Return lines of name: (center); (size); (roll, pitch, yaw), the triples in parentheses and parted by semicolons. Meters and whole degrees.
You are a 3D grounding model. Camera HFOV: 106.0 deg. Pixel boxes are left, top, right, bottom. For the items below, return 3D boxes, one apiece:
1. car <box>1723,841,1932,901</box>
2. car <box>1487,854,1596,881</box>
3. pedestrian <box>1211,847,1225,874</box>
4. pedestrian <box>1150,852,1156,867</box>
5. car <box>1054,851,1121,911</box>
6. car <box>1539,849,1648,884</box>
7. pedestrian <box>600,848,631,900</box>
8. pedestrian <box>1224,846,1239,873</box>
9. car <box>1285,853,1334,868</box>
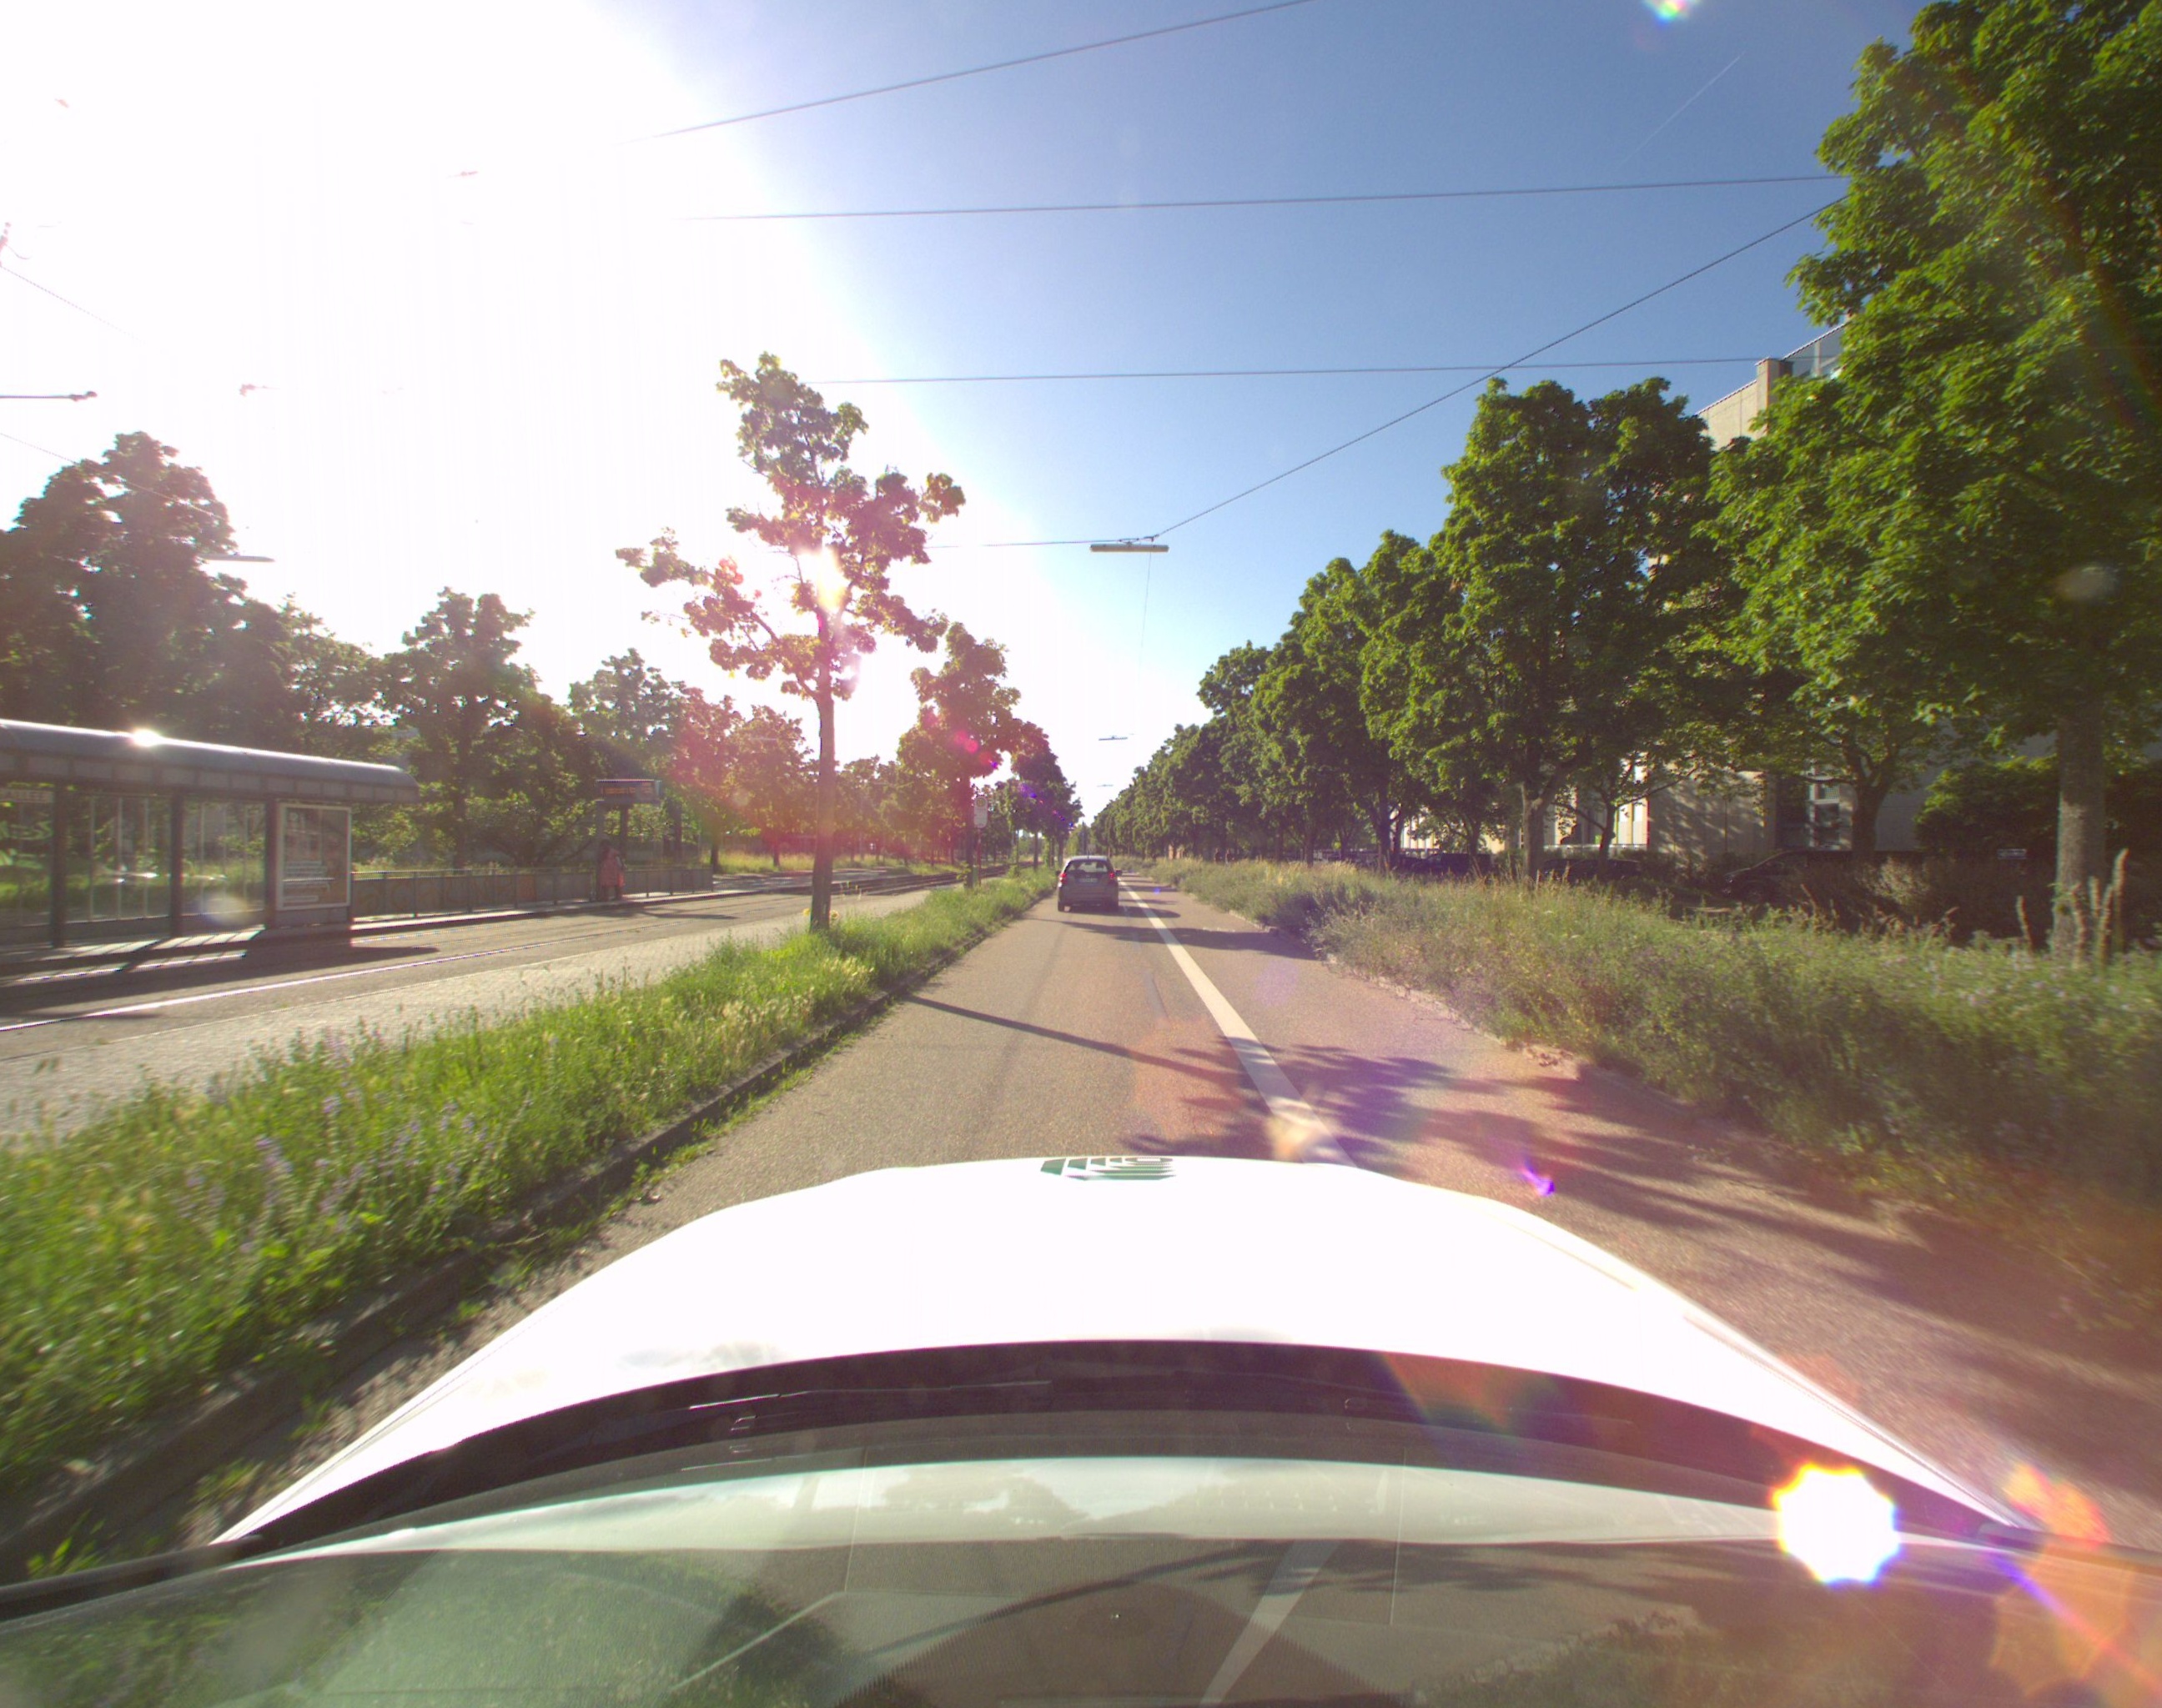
car: (24.088, 0.552, 26.553); (4.875, 1.802, 1.830); (-1, -2, 40)
car: (23.640, 0.663, 41.840); (4.625, 1.327, 2.105); (0, 0, 37)
pedestrian: (9.686, 0.436, 57.642); (0.879, 1.884, 0.875); (0, 0, -1)
pedestrian: (8.325, 0.623, 94.079); (0.722, 1.690, 0.821); (0, 0, 1)
car: (0.267, 0.751, 23.312); (1.694, 1.524, 3.712); (1, -1, 3)
car: (24.174, 0.569, 38.480); (4.177, 1.555, 1.940); (0, 0, 38)
pedestrian: (-13.119, 0.563, 22.969); (0.542, 1.448, 0.560); (0, -1, 3)
pedestrian: (10.622, 0.393, 57.613); (0.879, 1.884, 0.875); (0, 0, -1)
car: (23.995, 0.692, 85.726); (4.620, 1.555, 1.998); (0, 0, -3)
